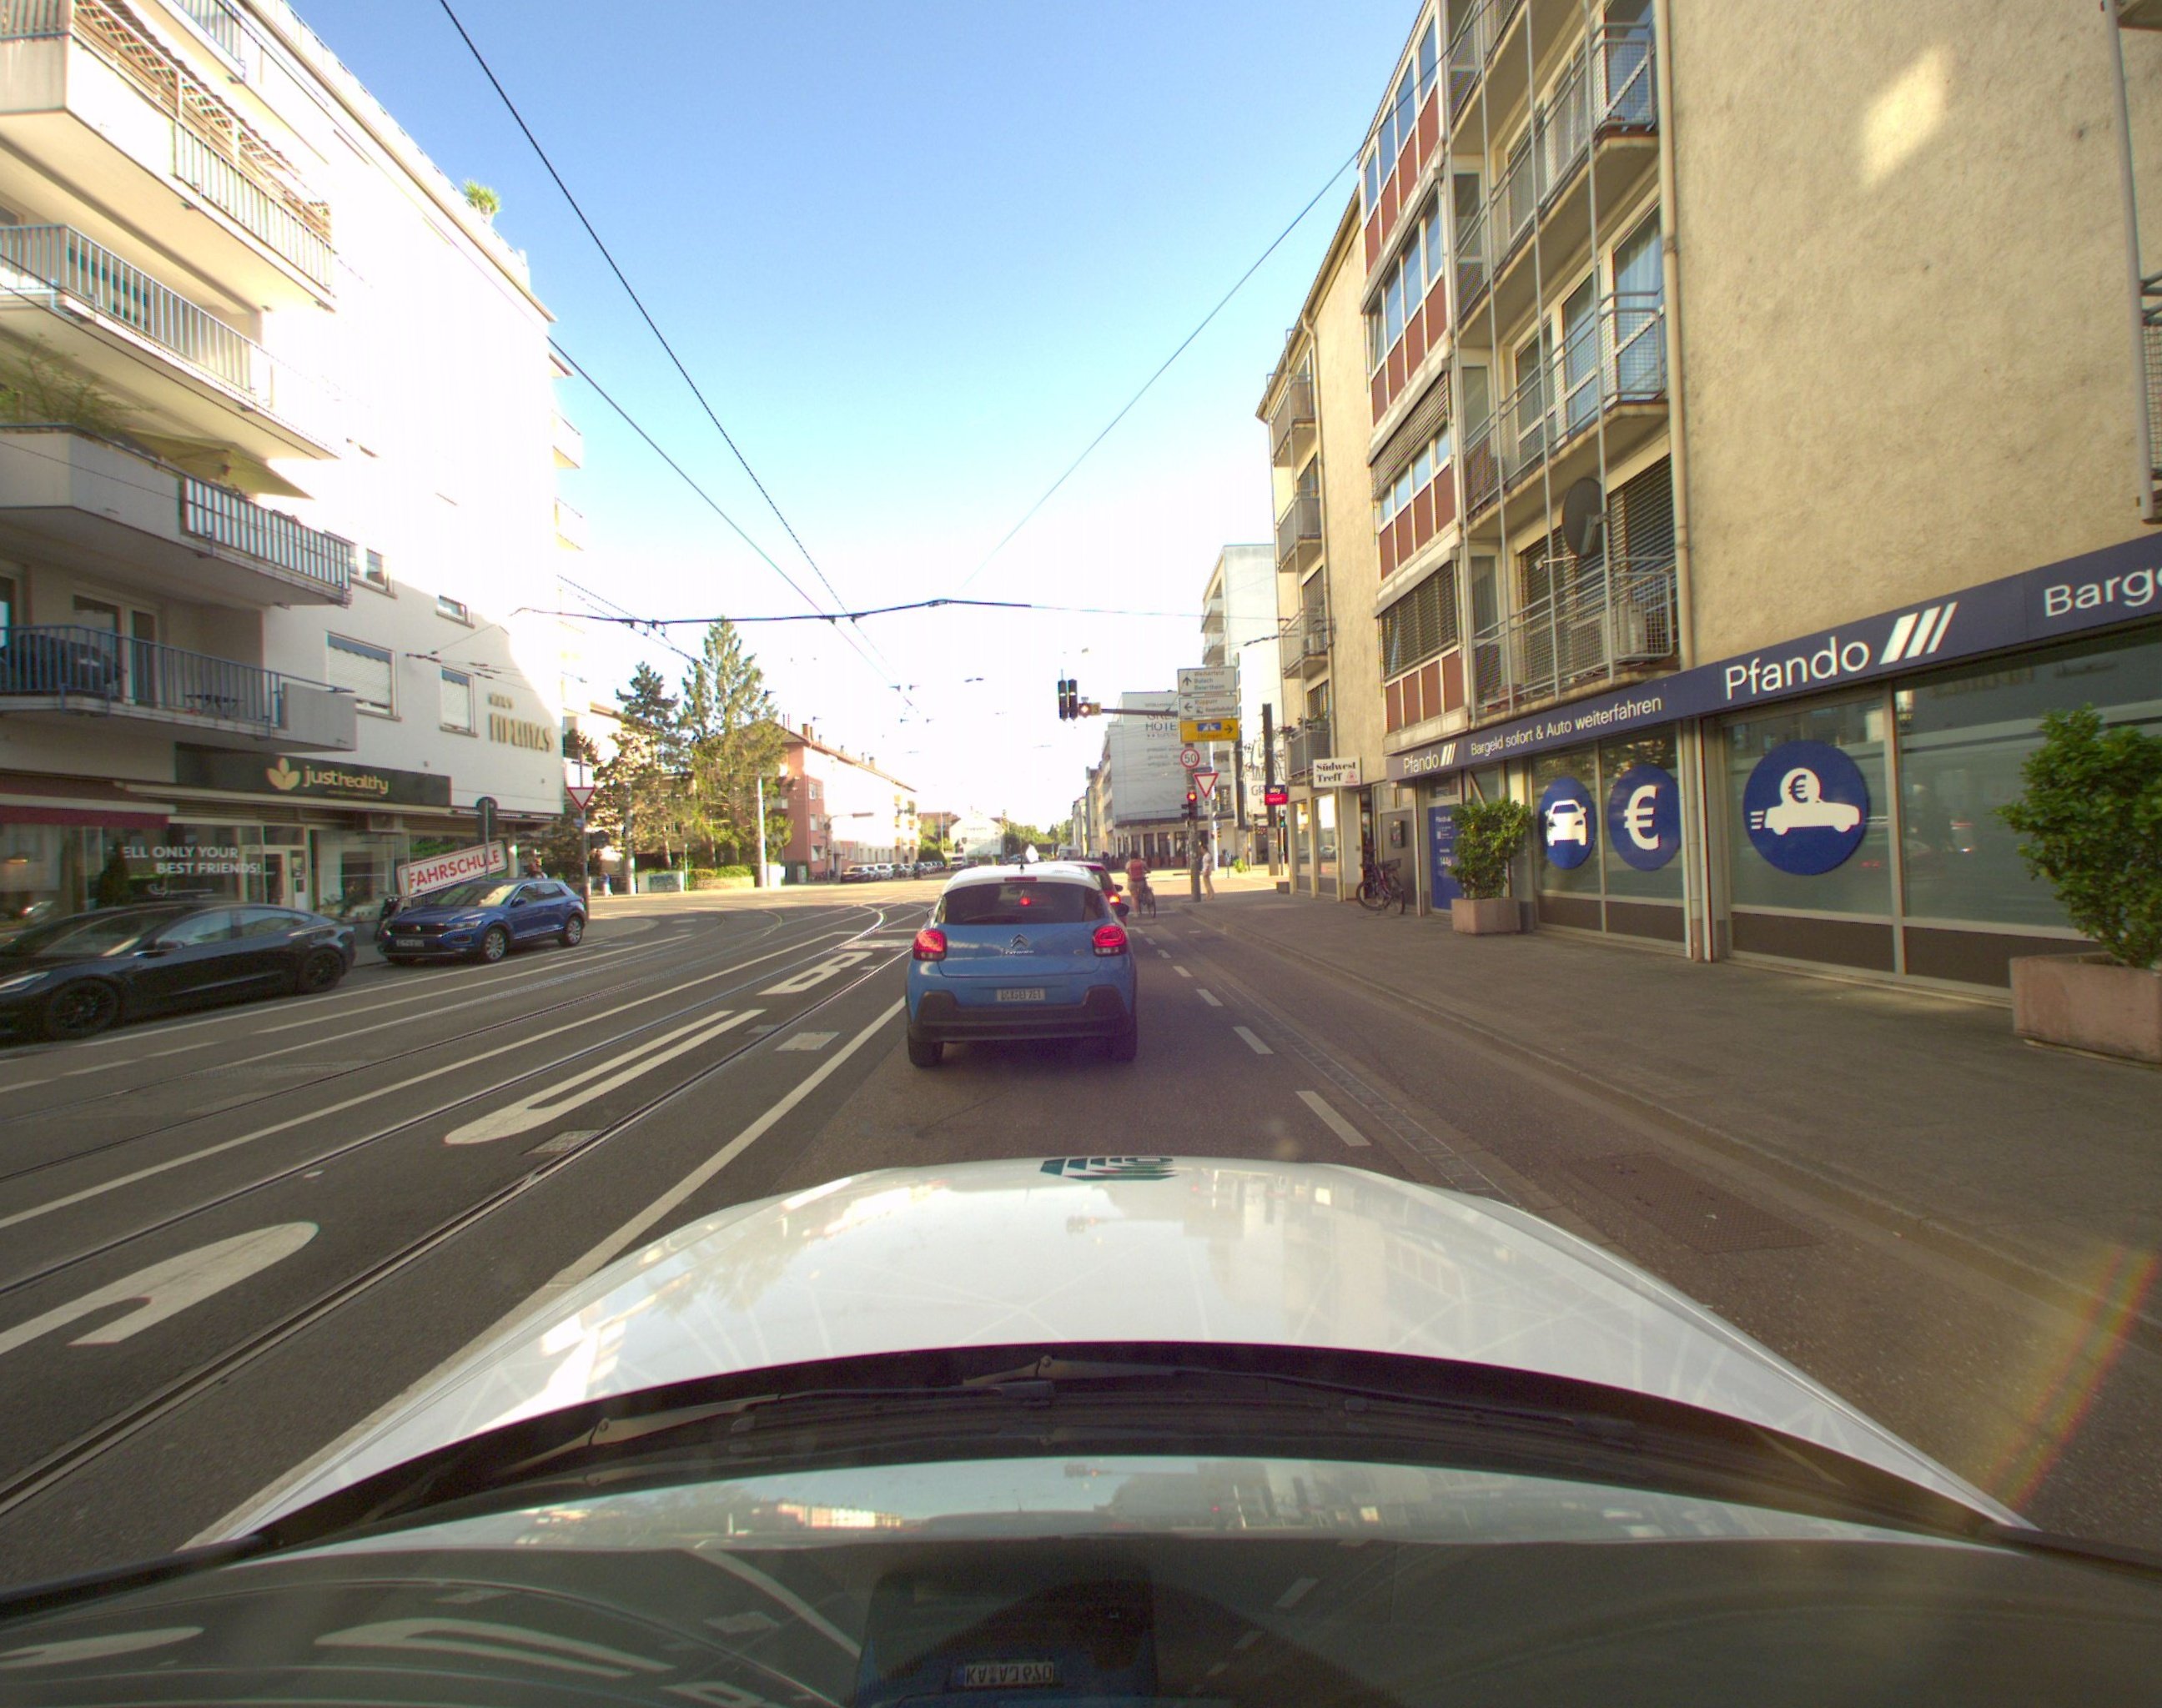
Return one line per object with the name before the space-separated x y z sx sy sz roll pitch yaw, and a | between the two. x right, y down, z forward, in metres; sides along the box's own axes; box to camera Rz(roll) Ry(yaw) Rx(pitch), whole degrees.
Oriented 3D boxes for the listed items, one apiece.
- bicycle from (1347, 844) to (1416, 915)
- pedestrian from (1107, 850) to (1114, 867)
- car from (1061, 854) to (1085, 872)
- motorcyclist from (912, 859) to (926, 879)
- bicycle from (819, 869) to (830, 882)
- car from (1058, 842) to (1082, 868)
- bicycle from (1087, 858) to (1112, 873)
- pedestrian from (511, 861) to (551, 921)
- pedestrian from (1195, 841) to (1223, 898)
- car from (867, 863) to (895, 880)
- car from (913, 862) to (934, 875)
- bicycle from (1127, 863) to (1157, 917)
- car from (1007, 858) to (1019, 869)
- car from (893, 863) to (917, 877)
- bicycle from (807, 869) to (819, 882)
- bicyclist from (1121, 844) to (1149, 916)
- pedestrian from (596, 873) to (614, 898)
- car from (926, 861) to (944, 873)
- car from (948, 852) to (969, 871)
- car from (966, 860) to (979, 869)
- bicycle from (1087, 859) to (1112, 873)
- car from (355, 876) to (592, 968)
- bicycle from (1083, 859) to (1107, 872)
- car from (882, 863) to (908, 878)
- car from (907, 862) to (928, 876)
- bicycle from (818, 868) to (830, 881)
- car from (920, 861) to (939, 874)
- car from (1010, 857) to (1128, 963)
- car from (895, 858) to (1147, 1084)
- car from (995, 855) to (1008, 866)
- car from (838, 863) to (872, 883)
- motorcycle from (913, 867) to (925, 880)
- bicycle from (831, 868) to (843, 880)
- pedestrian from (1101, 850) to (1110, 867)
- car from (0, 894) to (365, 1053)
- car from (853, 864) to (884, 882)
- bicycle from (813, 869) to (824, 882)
bicycle | 5.760 0.461 15.743 0.637 1.264 1.911 -2 0 2
pedestrian | 2.524 0.384 70.121 0.467 1.420 0.524 -2 0 -11
car | -0.715 0.745 67.989 1.783 1.359 3.909 -2 0 -4
motorcyclist | -13.474 1.270 67.696 0.990 1.631 0.737 -2 0 -7
bicycle | -21.595 1.793 68.475 0.537 1.082 1.905 -2 0 -9
car | -1.038 0.090 73.450 2.074 2.269 5.647 -1 0 -2
bicycle | 1.517 0.934 65.938 1.901 1.064 0.641 -2 0 -6
pedestrian | -17.286 1.169 25.599 0.761 1.834 0.725 -2 0 28
pedestrian | 3.841 0.458 24.418 0.747 1.635 0.742 -2 0 7
car | -19.560 1.684 79.858 1.947 1.519 3.995 -2 0 -4
car | -20.098 1.800 104.041 1.947 1.519 3.995 -2 0 -4
bicycle | 1.534 0.891 20.730 0.611 1.264 1.911 -2 0 2
car | -14.268 1.980 171.413 2.333 2.039 5.044 -2 0 -4
car | -19.981 1.790 92.598 1.947 1.519 3.995 -2 0 -4
bicycle | -22.380 1.793 68.080 0.640 1.082 1.905 -2 0 -9
bicyclist | 1.371 0.636 20.696 0.598 1.746 1.084 -2 0 2
pedestrian | -32.573 2.151 55.753 0.810 1.702 0.677 -2 0 -15
car | -20.726 1.851 115.686 1.947 1.519 3.995 -2 0 -4
car | -18.127 1.103 120.578 2.489 2.712 5.828 -2 0 -5
car | -19.339 1.816 145.247 1.947 1.519 3.995 -2 0 -4
bicycle | 1.526 0.965 67.245 1.901 1.064 0.641 -2 0 -6
car | -11.877 1.245 16.328 1.720 1.505 4.113 0 0 -2
bicycle | 1.160 0.957 68.447 1.901 1.064 0.641 -2 0 -6
car | -19.730 1.739 86.531 1.947 1.519 3.995 -2 0 -4
car | -19.852 1.785 99.028 1.947 1.519 3.995 -2 0 -4
bicycle | -23.049 1.841 73.109 0.536 1.082 1.908 -2 0 -4
car | -20.299 1.772 109.330 1.947 1.519 3.995 -2 0 -4
car | -0.224 0.813 13.711 1.675 1.462 3.997 -1 0 -2
car | -0.450 0.794 7.502 1.675 1.462 3.997 -1 0 -2
car | -12.805 0.973 131.511 2.002 1.627 5.044 -2 0 -5
car | -19.290 1.600 69.622 1.947 1.519 3.995 -2 0 -4
motorcycle | -13.483 1.598 67.763 0.751 0.976 2.092 -2 0 -7
bicycle | -22.716 1.859 75.805 0.608 1.082 1.908 -2 0 -4
pedestrian | 2.104 0.400 70.382 0.520 1.420 0.550 -3 0 22
car | -11.982 1.332 10.425 1.720 1.403 4.486 0 0 -2
car | -19.571 1.717 75.246 1.947 1.519 4.040 -2 0 -4
bicycle | -21.974 1.793 68.190 0.537 1.082 1.905 -2 0 -9
